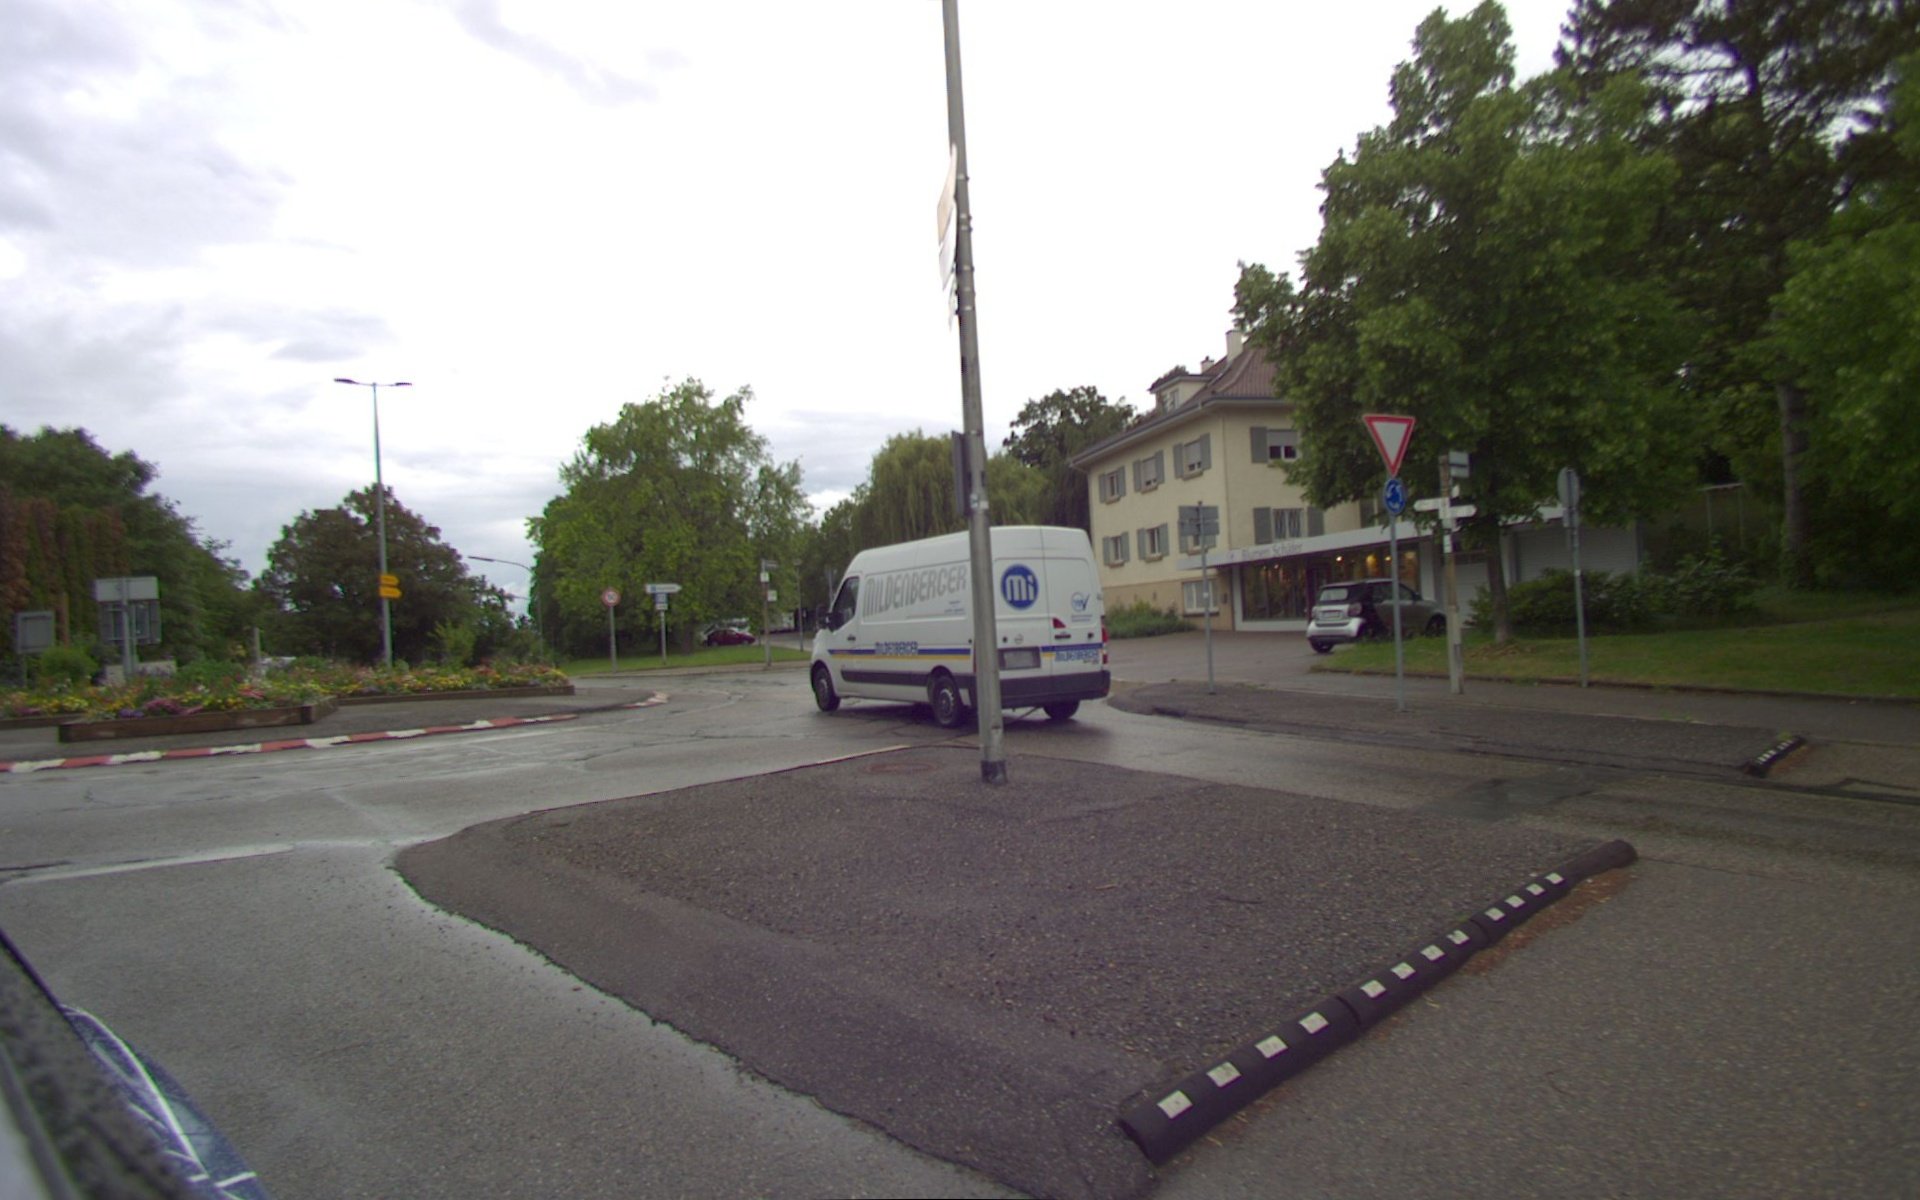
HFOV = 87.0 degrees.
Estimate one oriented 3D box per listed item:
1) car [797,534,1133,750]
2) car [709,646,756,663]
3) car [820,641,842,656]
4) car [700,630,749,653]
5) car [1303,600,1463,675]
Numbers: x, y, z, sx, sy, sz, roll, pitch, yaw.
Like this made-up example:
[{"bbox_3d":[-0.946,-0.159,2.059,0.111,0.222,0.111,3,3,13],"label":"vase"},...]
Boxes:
[{"bbox_3d":[-0.221,0.626,14.301,2.138,2.434,5.411,0,-3,-32],"label":"car"},{"bbox_3d":[-18.734,4.508,83.498,3.794,1.321,1.563,0,-5,-10],"label":"car"},{"bbox_3d":[-11.320,4.219,88.489,1.534,1.321,3.866,0,-2,-12],"label":"car"},{"bbox_3d":[-24.489,4.303,105.433,4.837,2.319,1.795,0,-5,-10],"label":"car"},{"bbox_3d":[9.249,0.791,22.197,2.775,1.553,1.703,0,-1,-19],"label":"car"}]
